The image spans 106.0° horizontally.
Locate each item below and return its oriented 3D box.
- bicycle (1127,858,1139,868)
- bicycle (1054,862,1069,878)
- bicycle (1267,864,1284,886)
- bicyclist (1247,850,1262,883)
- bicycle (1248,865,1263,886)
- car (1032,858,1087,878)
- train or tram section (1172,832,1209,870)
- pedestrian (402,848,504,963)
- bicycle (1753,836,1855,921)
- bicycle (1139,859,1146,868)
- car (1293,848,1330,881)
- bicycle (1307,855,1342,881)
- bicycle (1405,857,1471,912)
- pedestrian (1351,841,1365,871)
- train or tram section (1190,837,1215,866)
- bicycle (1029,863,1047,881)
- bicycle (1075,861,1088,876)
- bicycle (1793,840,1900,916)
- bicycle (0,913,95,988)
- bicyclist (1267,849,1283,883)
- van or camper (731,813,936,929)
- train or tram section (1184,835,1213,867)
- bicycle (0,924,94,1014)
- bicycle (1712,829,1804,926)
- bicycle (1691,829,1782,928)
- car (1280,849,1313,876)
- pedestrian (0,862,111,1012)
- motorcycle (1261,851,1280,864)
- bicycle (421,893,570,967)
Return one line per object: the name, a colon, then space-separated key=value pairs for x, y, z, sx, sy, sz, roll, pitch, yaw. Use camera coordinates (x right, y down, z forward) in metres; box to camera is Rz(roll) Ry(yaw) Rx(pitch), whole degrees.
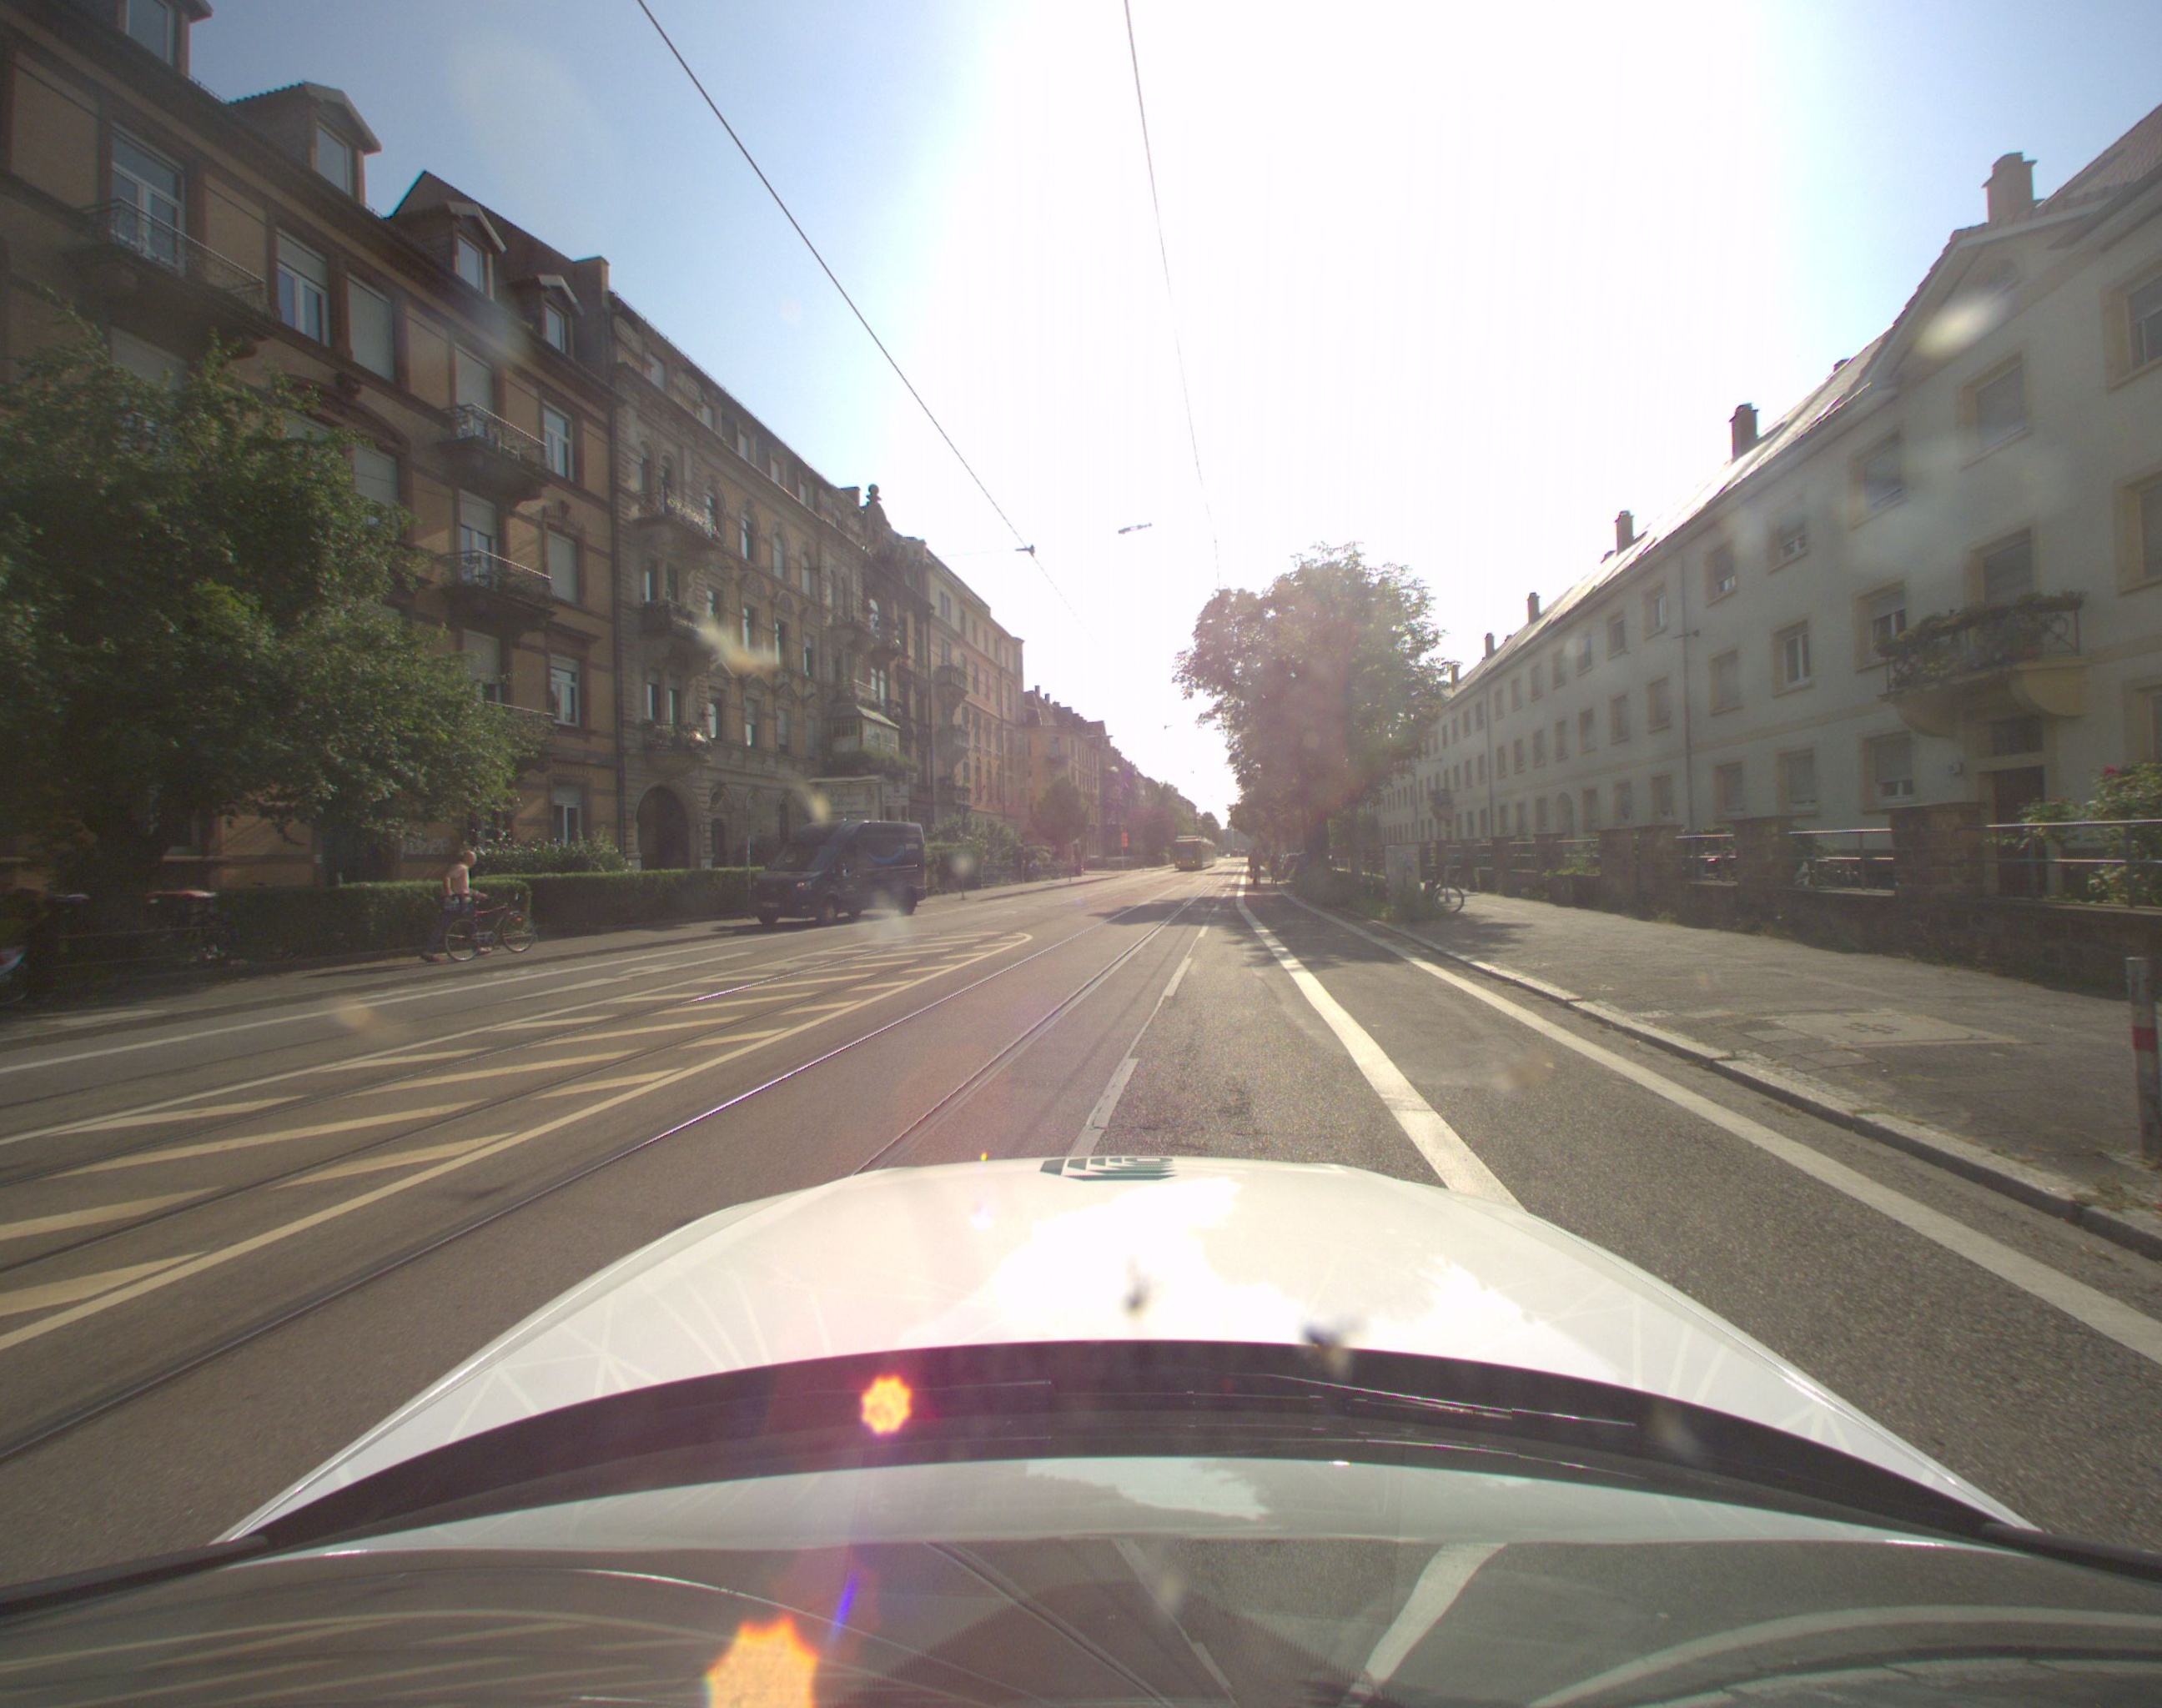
bicycle: x=6.106 y=1.058 z=96.111 sx=1.349 sy=1.060 sz=0.418 roll=-1 pitch=-1 yaw=8
bicycle: x=-1.339 y=1.079 z=55.548 sx=0.541 sy=1.058 sz=1.846 roll=2 pitch=0 yaw=13
bicycle: x=8.475 y=0.920 z=35.564 sx=0.650 sy=0.909 sz=1.780 roll=0 pitch=0 yaw=11
bicyclist: x=7.605 y=0.548 z=35.641 sx=0.622 sy=1.401 sz=0.932 roll=0 pitch=0 yaw=11
bicycle: x=7.625 y=0.929 z=35.625 sx=0.622 sy=0.909 sz=1.529 roll=0 pitch=0 yaw=11
car: x=-1.704 y=1.119 z=66.337 sx=4.111 sy=1.543 sz=2.070 roll=-1 pitch=-1 yaw=10
train or tram section: x=11.377 y=-0.287 z=83.168 sx=2.717 sy=3.505 sz=15.480 roll=-2 pitch=0 yaw=11
pedestrian: x=-10.361 y=0.821 z=13.471 sx=0.723 sy=1.806 sz=1.096 roll=-2 pitch=0 yaw=10
bicycle: x=11.140 y=0.355 z=12.614 sx=0.450 sy=1.216 sz=1.747 roll=-1 pitch=0 yaw=16
bicycle: x=7.321 y=1.105 z=96.924 sx=0.505 sy=1.108 sz=2.010 roll=-2 pitch=-1 yaw=12
car: x=11.852 y=0.510 z=41.786 sx=1.632 sy=1.540 sz=3.859 roll=-4 pitch=-1 yaw=17
bicycle: x=10.626 y=0.607 z=35.491 sx=1.736 sy=1.073 sz=0.519 roll=-1 pitch=-1 yaw=-37
bicycle: x=7.964 y=0.648 z=18.282 sx=0.767 sy=1.104 sz=2.339 roll=-2 pitch=0 yaw=9
pedestrian: x=16.145 y=0.123 z=47.502 sx=0.746 sy=1.749 sz=0.882 roll=-2 pitch=0 yaw=18
train or tram section: x=16.006 y=-0.357 z=106.648 sx=2.717 sy=3.505 sz=10.809 roll=-2 pitch=0 yaw=11
bicycle: x=-2.618 y=1.093 z=49.734 sx=0.602 sy=1.058 sz=1.846 roll=2 pitch=0 yaw=13
bicycle: x=0.073 y=1.087 z=62.453 sx=0.541 sy=1.058 sz=1.846 roll=2 pitch=0 yaw=13
bicycle: x=12.149 y=0.352 z=12.999 sx=0.516 sy=1.126 sz=2.038 roll=-1 pitch=0 yaw=22
bicycle: x=-13.395 y=1.208 z=10.237 sx=1.685 sy=0.860 sz=0.530 roll=-2 pitch=0 yaw=11
bicyclist: x=8.478 y=0.511 z=35.551 sx=0.650 sy=1.474 sz=0.911 roll=0 pitch=0 yaw=11
van or camper: x=-6.379 y=0.417 z=22.024 sx=2.034 sy=2.644 sz=6.118 roll=-3 pitch=-1 yaw=18
train or tram section: x=13.902 y=-0.345 z=96.049 sx=2.717 sy=3.505 sz=10.809 roll=-2 pitch=0 yaw=11
bicycle: x=-12.311 y=1.324 z=8.998 sx=0.522 sy=0.927 sz=1.709 roll=-2 pitch=0 yaw=15
bicycle: x=10.856 y=0.357 z=13.122 sx=0.450 sy=1.455 sz=1.747 roll=-1 pitch=0 yaw=16
bicycle: x=10.292 y=0.358 z=12.848 sx=0.450 sy=1.455 sz=1.747 roll=-1 pitch=0 yaw=16
car: x=13.060 y=0.501 z=49.536 sx=1.634 sy=1.448 sz=4.260 roll=-4 pitch=-1 yaw=12
pedestrian: x=-12.048 y=0.941 z=9.509 sx=0.635 sy=1.678 sz=0.633 roll=-2 pitch=0 yaw=0
motorcycle: x=25.820 y=0.471 z=110.969 sx=0.917 sy=1.674 sz=2.394 roll=-3 pitch=-1 yaw=-34
bicycle: x=-9.723 y=1.228 z=13.650 sx=0.614 sy=1.007 sz=2.157 roll=-2 pitch=0 yaw=11
